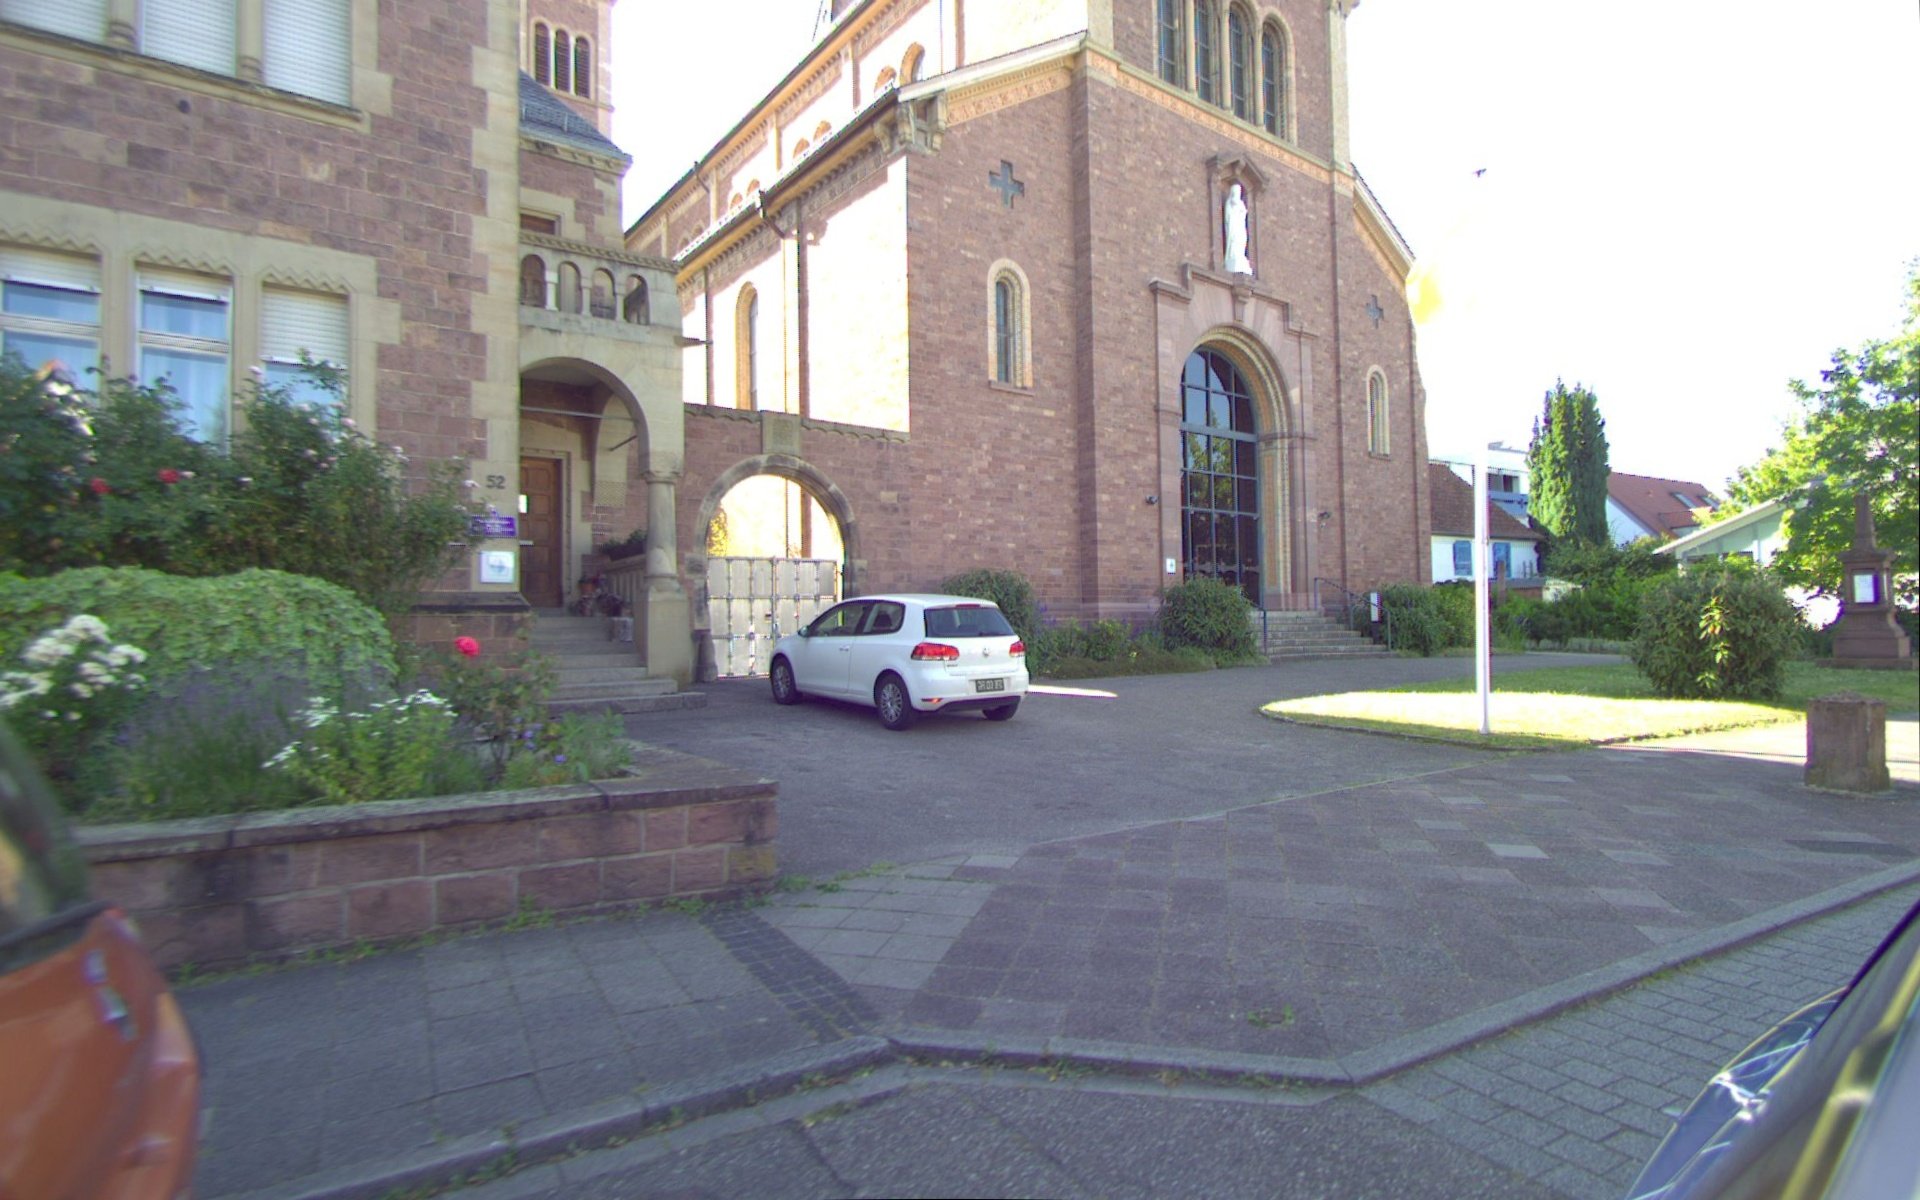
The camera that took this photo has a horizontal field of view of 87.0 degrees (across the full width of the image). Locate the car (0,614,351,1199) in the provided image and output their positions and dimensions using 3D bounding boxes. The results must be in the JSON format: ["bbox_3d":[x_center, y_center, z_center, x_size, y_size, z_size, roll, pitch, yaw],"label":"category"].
[{"bbox_3d":[-2.777,0.790,0.844,3.856,1.498,1.654,0,-3,-32],"label":"car"}]

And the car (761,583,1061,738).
[{"bbox_3d":[-0.750,0.591,12.581,1.870,1.514,3.909,-2,2,-37],"label":"car"}]
